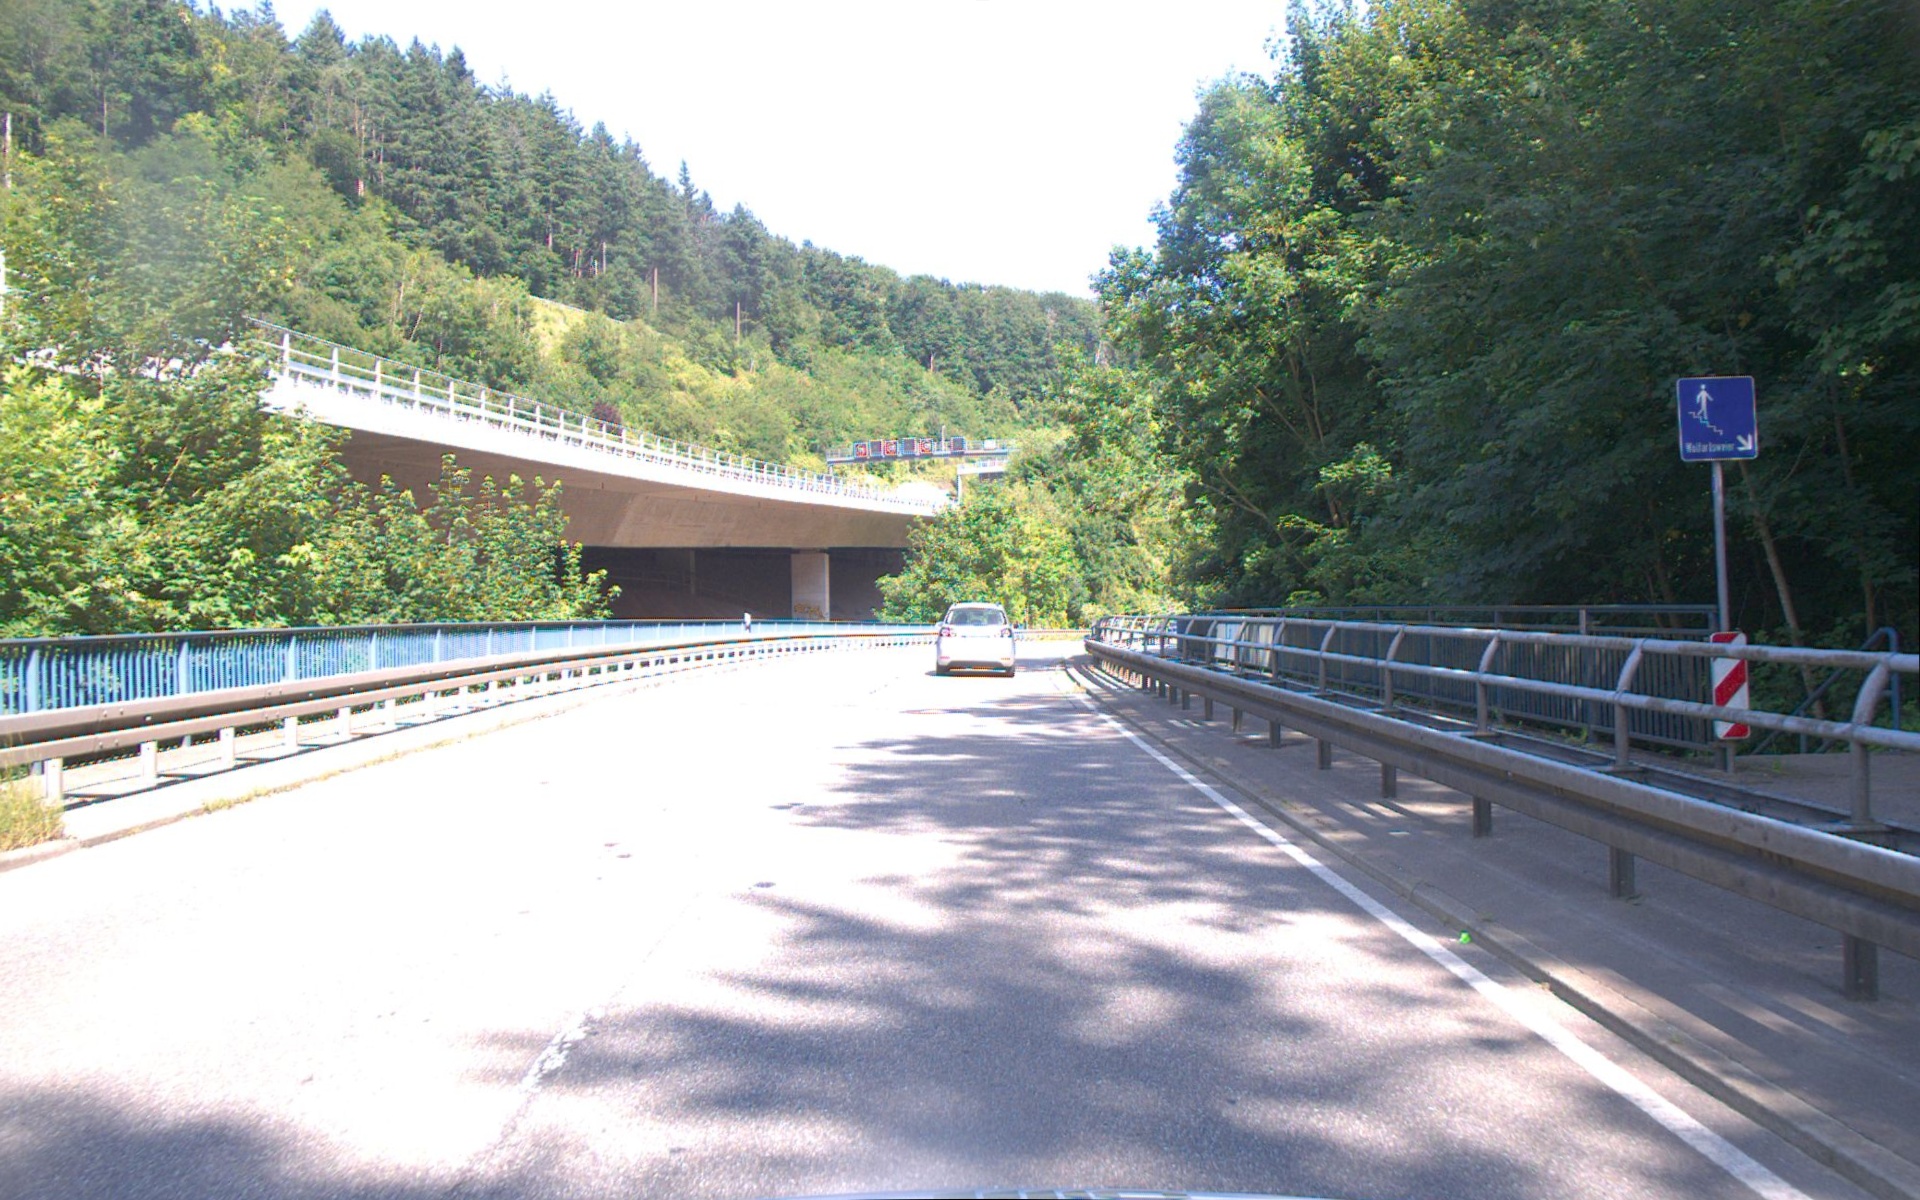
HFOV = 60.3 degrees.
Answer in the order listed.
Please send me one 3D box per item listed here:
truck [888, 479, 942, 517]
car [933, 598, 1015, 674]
[{"bbox_3d":[-4.521,-10.436,169.584,3.298,3.413,10.186,1,1,12],"label":"truck"},{"bbox_3d":[0.340,0.753,36.678,1.715,1.546,4.160,0,0,1],"label":"car"}]
